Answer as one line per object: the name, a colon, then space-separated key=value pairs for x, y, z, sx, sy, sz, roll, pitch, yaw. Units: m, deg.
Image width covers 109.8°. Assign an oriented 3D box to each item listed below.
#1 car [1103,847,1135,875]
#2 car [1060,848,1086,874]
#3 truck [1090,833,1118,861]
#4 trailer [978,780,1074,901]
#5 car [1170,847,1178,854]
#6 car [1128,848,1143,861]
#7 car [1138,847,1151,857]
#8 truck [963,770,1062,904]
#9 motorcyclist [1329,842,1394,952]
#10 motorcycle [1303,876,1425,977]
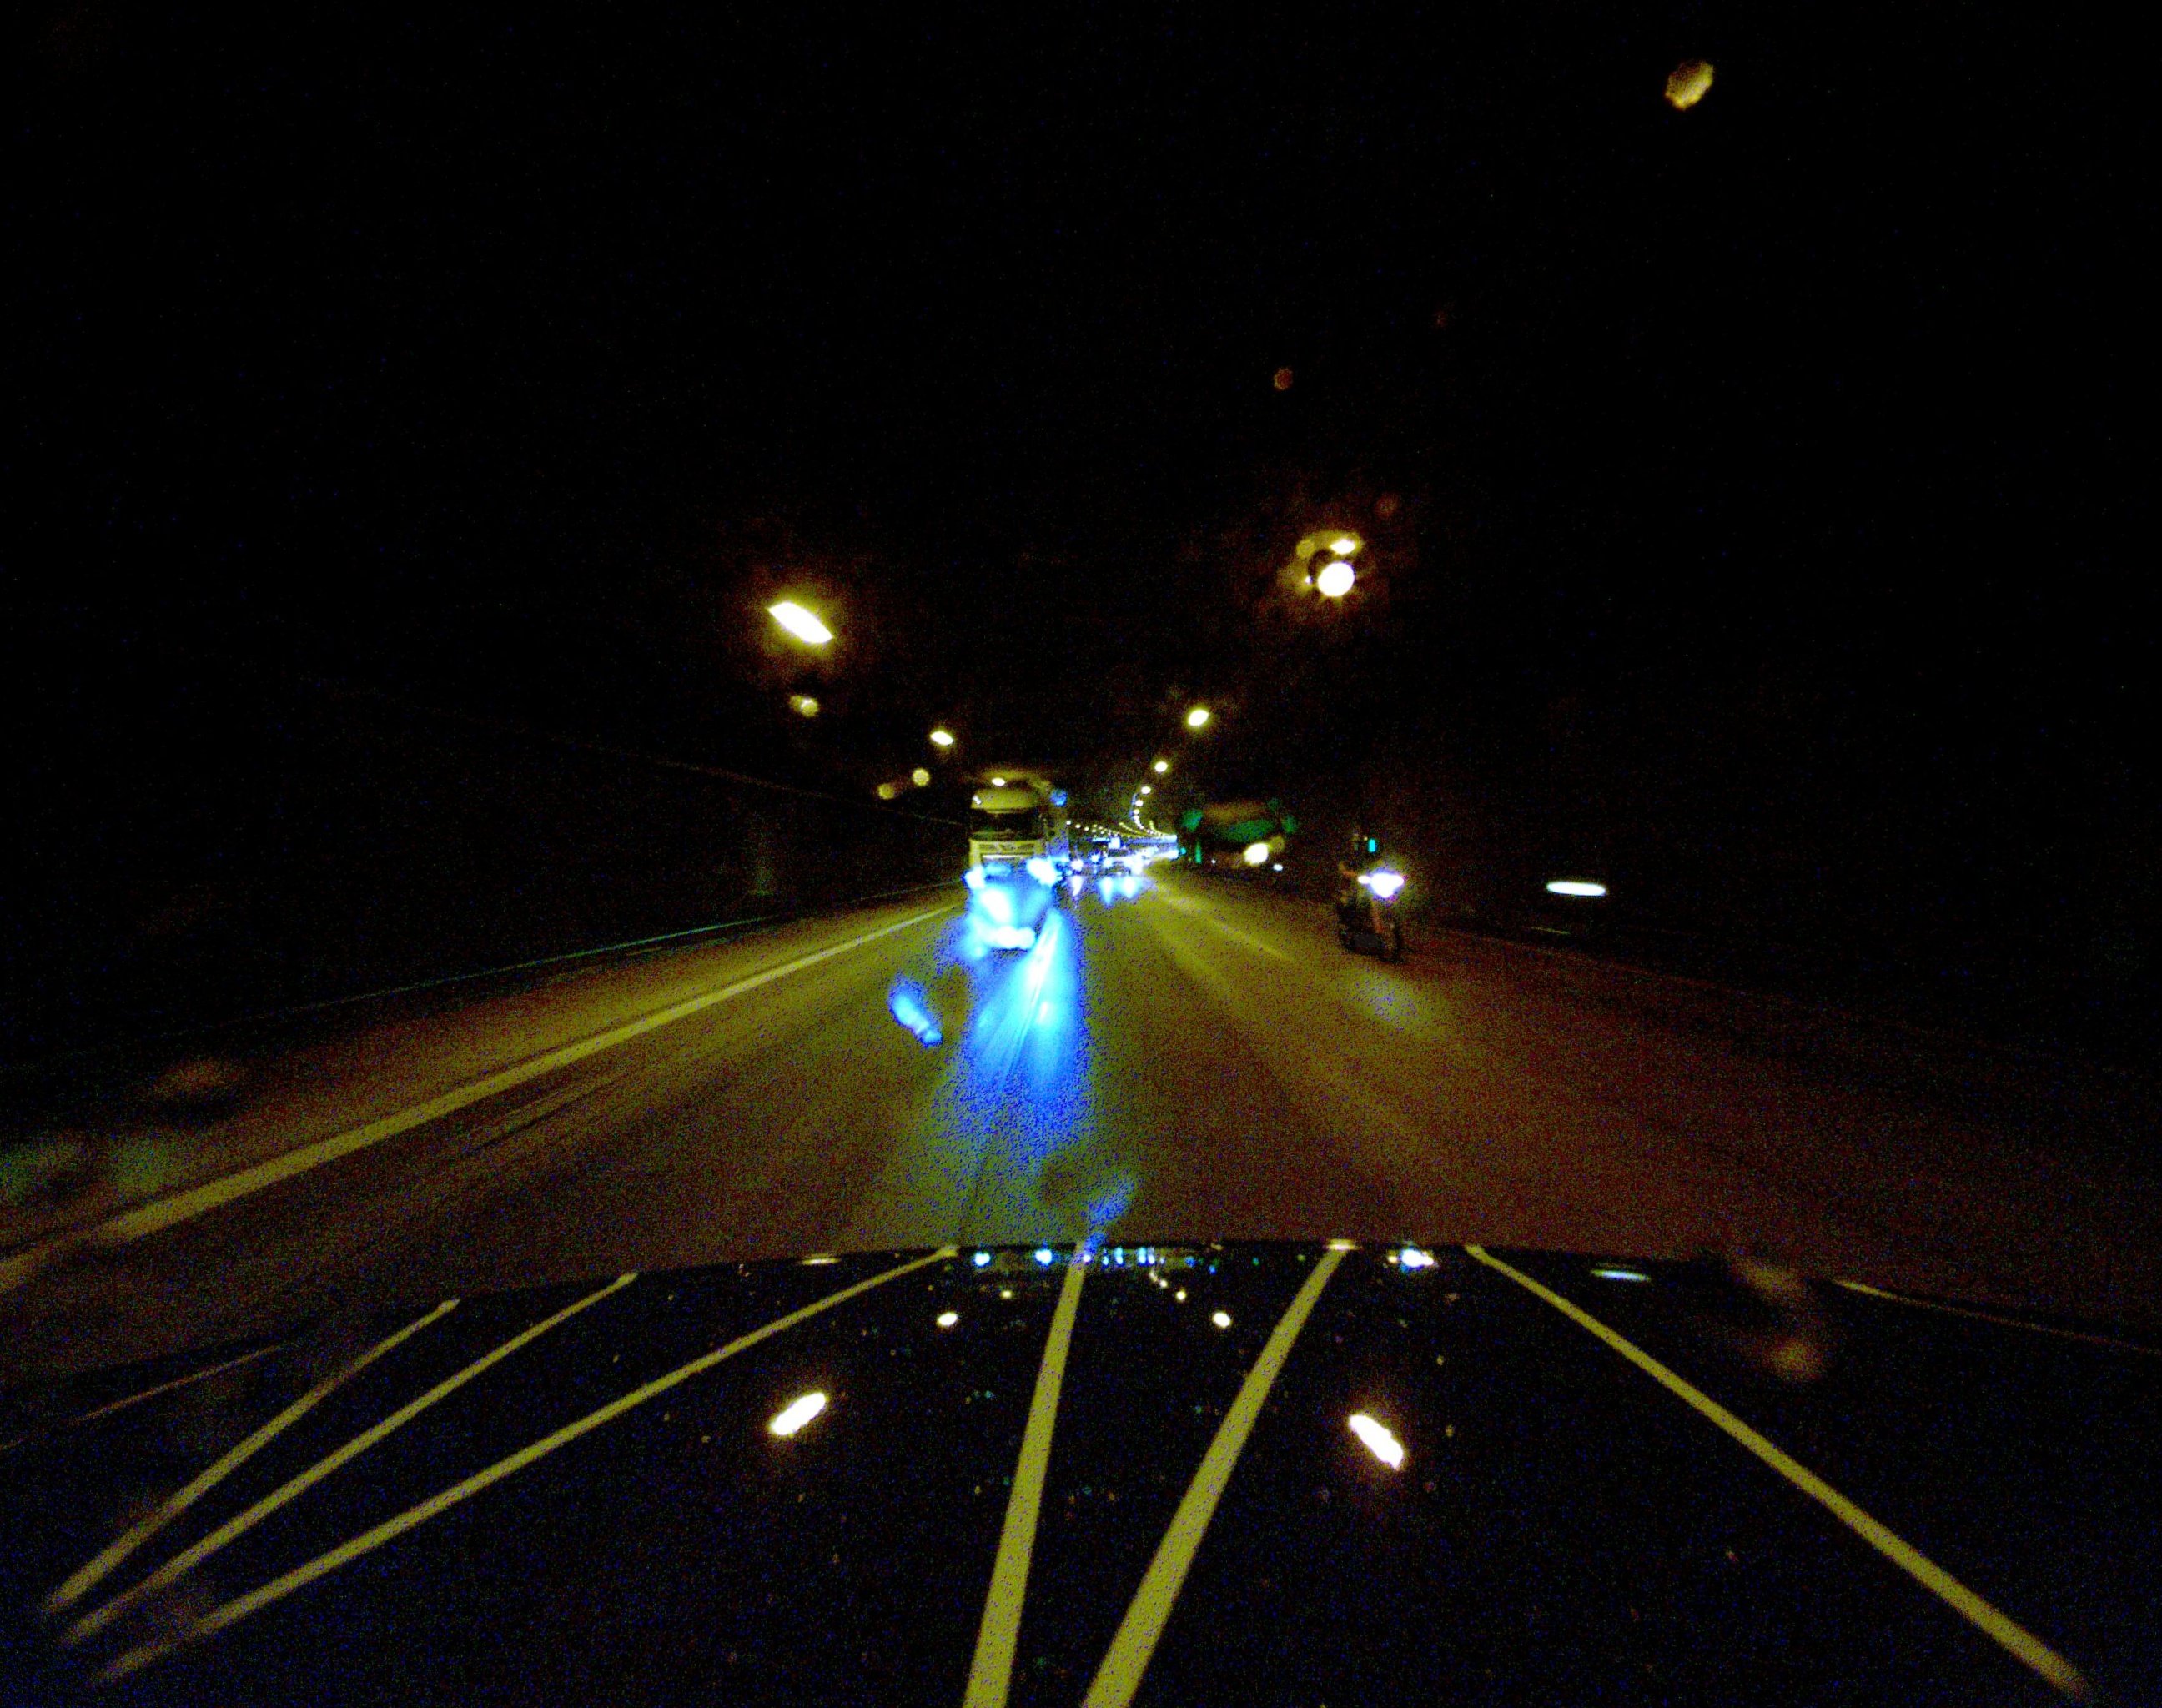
car: x=2.789 y=0.491 z=56.499 sx=1.999 sy=1.890 sz=3.999 roll=-2 pitch=0 yaw=-2
car: x=-0.607 y=0.507 z=59.485 sx=1.839 sy=1.849 sz=4.288 roll=-1 pitch=1 yaw=1
truck: x=3.393 y=-1.030 z=110.239 sx=2.899 sy=3.819 sz=9.001 roll=-3 pitch=1 yaw=8
trailer: x=-2.030 y=-0.512 z=33.895 sx=2.627 sy=4.139 sz=14.001 roll=-3 pitch=0 yaw=2
car: x=26.509 y=-1.055 z=216.310 sx=1.997 sy=1.788 sz=4.003 roll=-3 pitch=1 yaw=12
car: x=8.144 y=0.015 z=113.539 sx=1.998 sy=1.788 sz=4.001 roll=-3 pitch=1 yaw=6
car: x=11.797 y=-0.363 z=140.681 sx=1.997 sy=1.788 sz=4.002 roll=-3 pitch=1 yaw=8
truck: x=-2.257 y=-0.554 z=27.224 sx=2.652 sy=4.139 sz=6.005 roll=-3 pitch=1 yaw=2
motorcyclist: x=3.929 y=0.577 z=10.701 sx=0.628 sy=1.481 sz=0.891 roll=-2 pitch=1 yaw=7
motorcycle: x=3.914 y=0.951 z=10.768 sx=1.055 sy=1.151 sz=2.428 roll=-2 pitch=1 yaw=7
